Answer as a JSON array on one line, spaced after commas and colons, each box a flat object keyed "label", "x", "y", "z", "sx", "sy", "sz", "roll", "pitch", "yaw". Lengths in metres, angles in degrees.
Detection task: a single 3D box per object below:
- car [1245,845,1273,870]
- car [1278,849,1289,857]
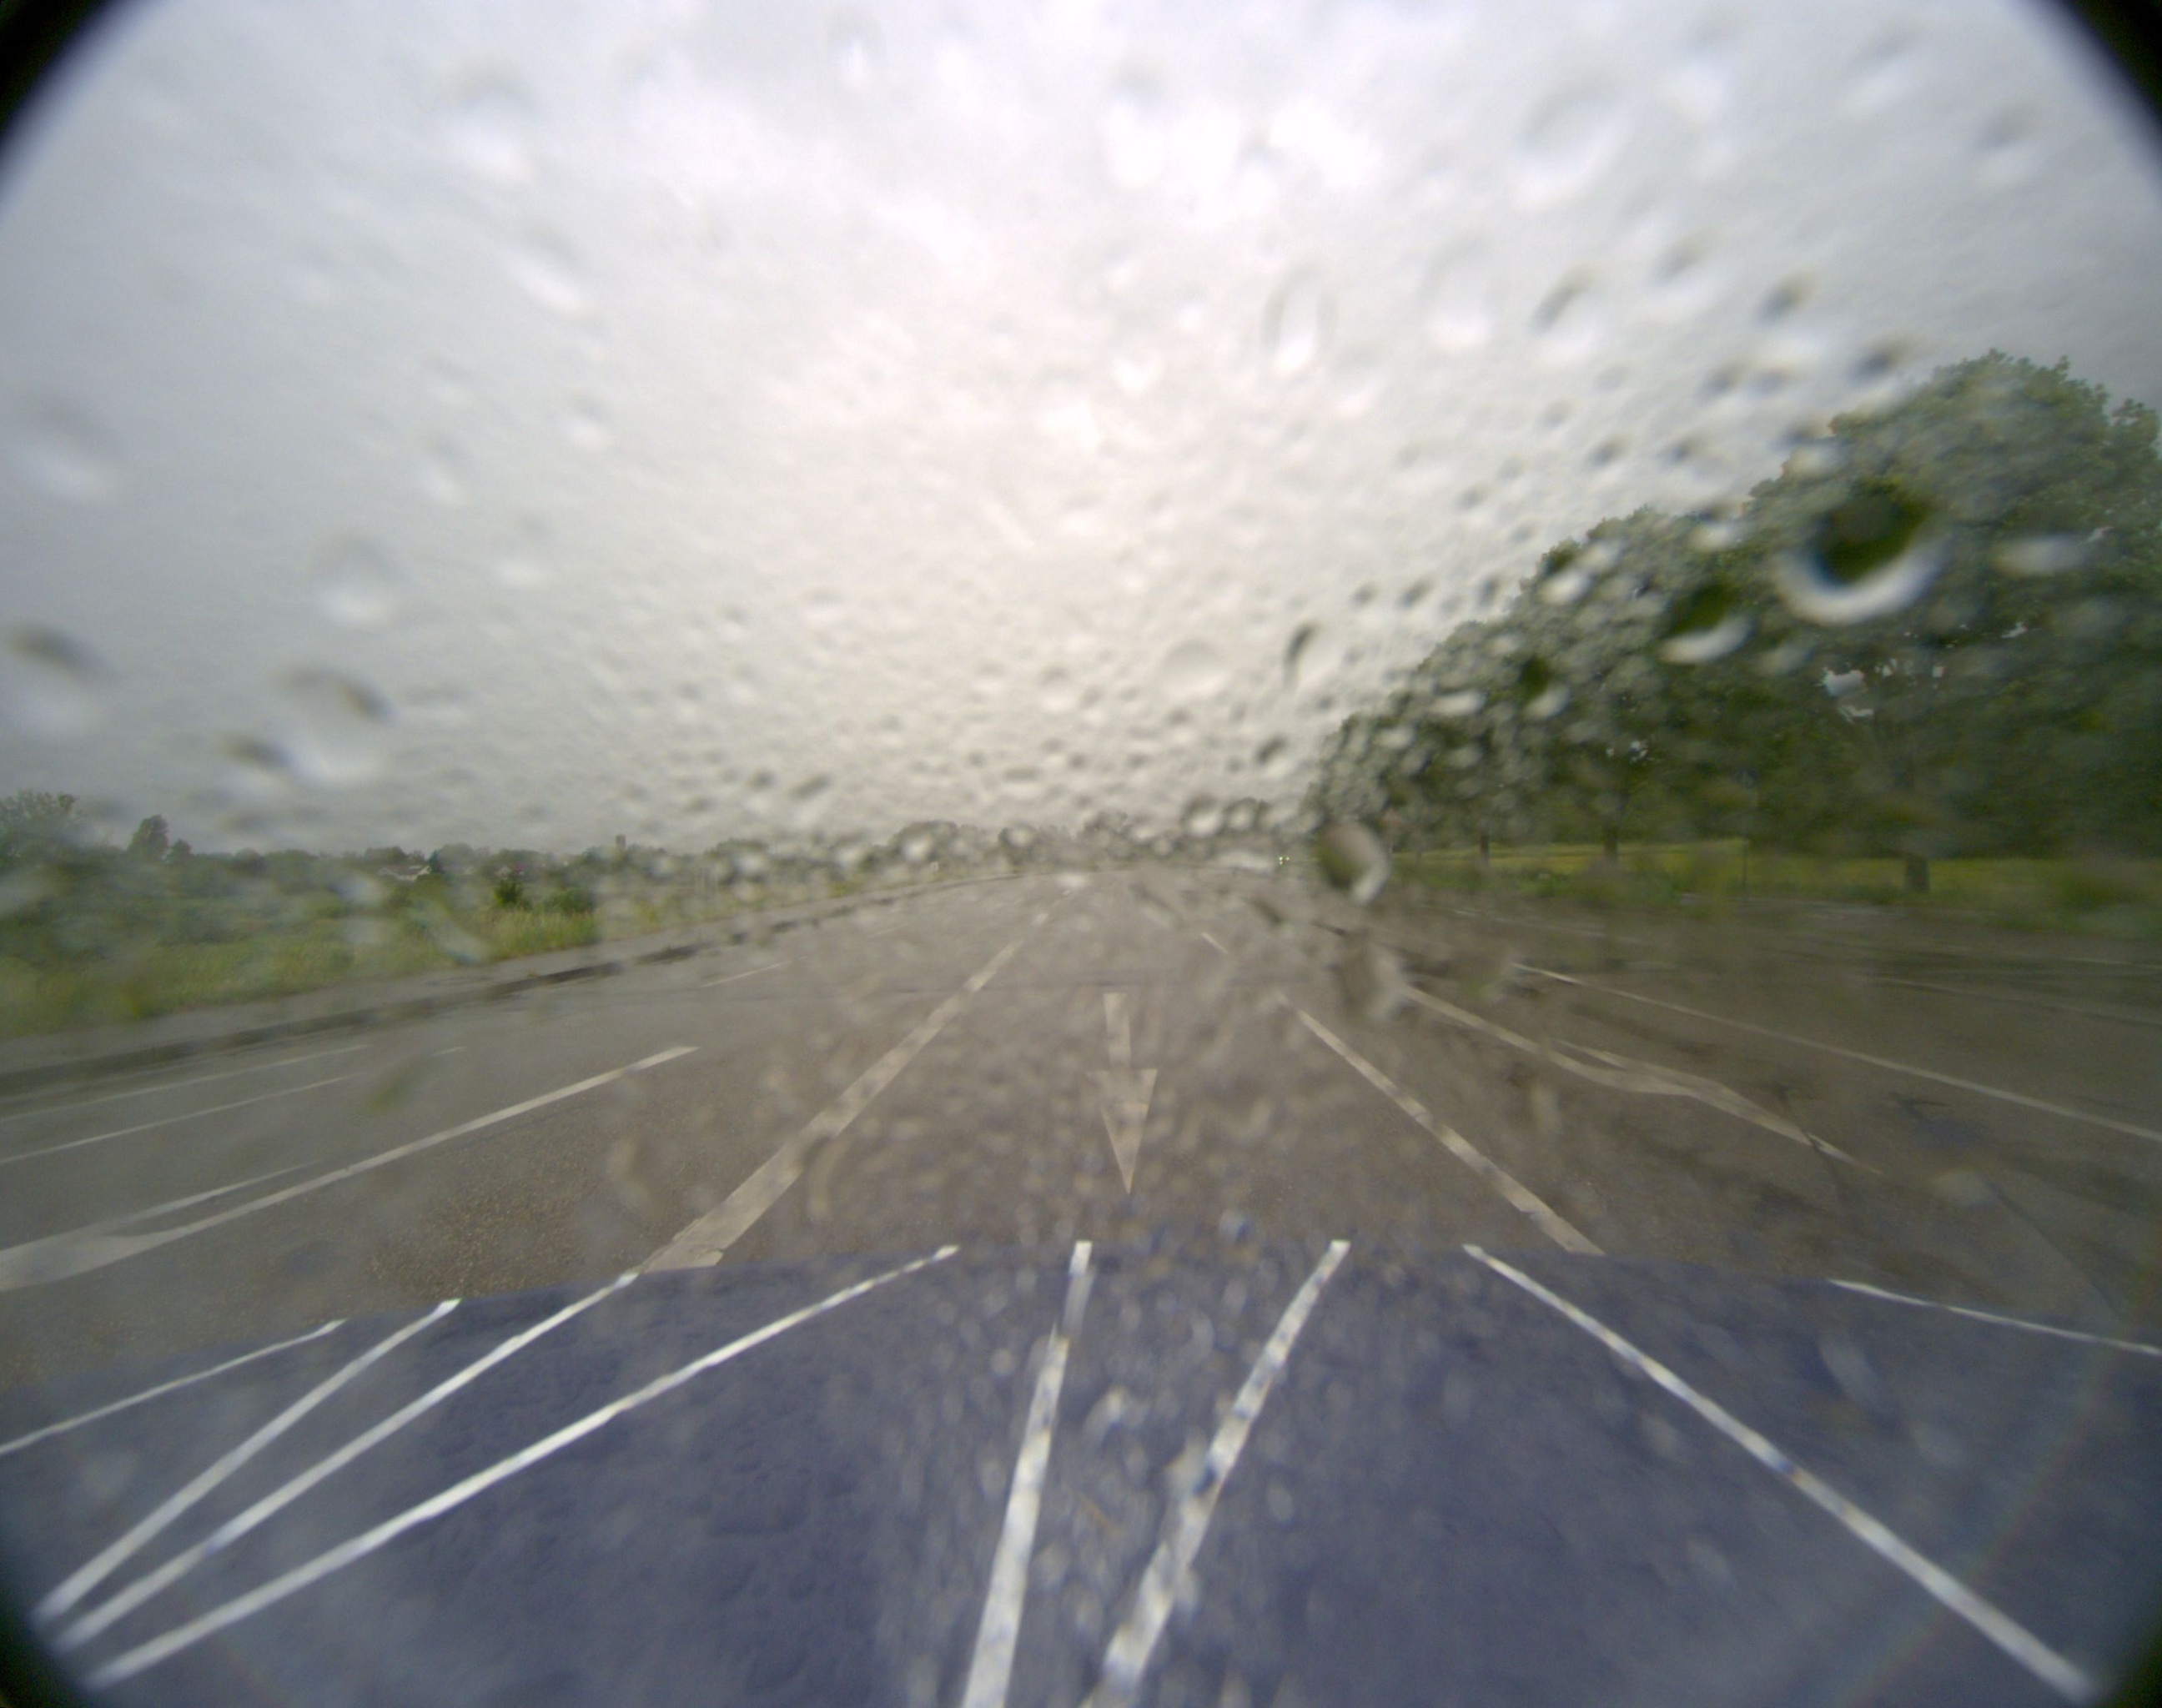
[{"label": "car", "x": 14.469, "y": 0.235, "z": 61.914, "sx": 2.110, "sy": 1.881, "sz": 4.795, "roll": -1, "pitch": 0, "yaw": 12}, {"label": "car", "x": 43.211, "y": -0.202, "z": 162.253, "sx": 1.914, "sy": 1.576, "sz": 4.106, "roll": -2, "pitch": 1, "yaw": 13}]
